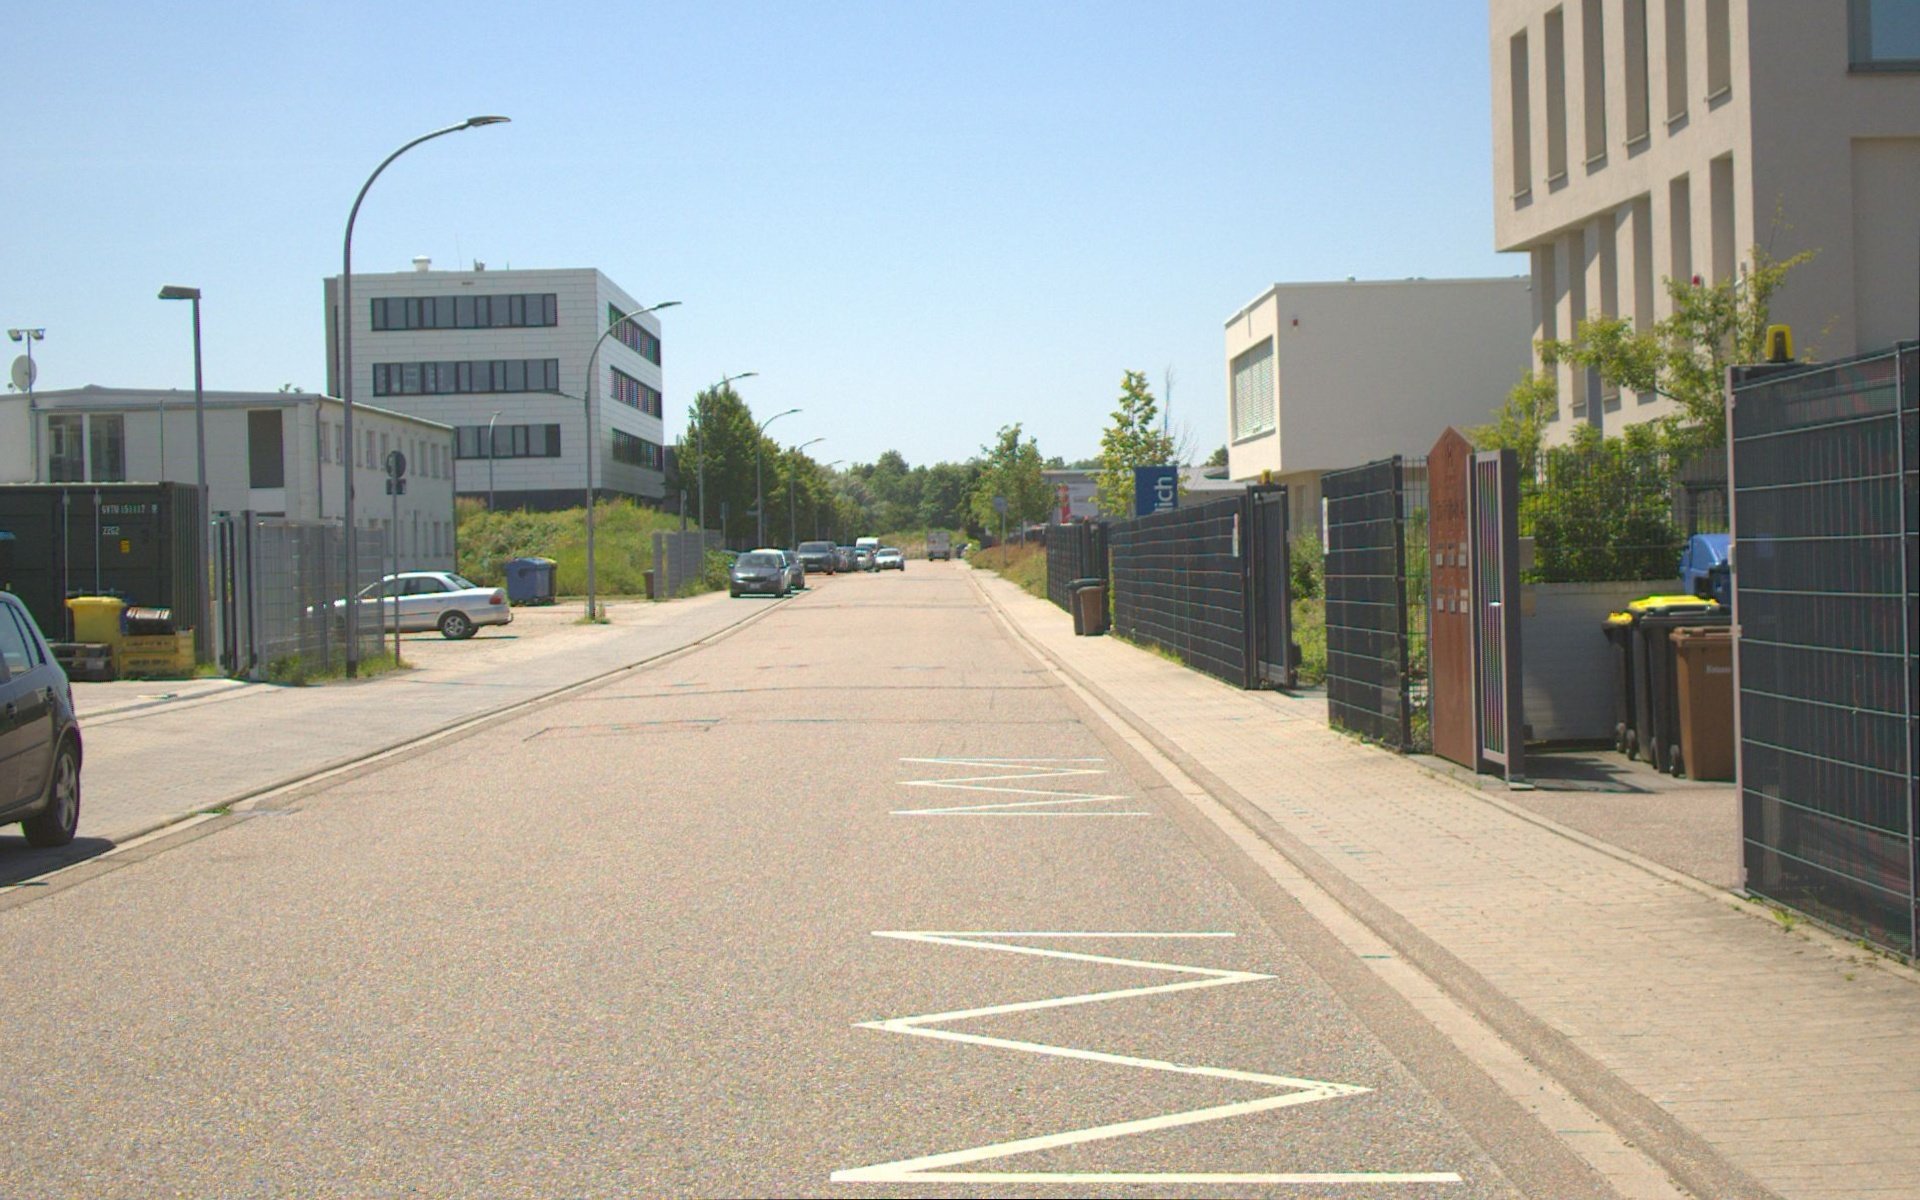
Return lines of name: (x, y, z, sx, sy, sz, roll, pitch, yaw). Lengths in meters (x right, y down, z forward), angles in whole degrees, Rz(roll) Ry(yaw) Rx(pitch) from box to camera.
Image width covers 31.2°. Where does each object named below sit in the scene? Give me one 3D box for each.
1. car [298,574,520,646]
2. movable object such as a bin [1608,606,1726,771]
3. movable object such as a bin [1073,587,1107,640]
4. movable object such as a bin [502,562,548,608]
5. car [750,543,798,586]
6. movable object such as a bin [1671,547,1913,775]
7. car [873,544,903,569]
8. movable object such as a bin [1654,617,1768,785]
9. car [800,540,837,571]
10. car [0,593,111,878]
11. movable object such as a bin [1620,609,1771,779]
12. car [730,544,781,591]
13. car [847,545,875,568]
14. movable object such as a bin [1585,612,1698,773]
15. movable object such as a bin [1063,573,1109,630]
car: (-11.423, 0.197, 71.481, 4.277, 1.360, 1.898, -2, 1, 0)
movable object such as a bin: (4.584, 0.566, 22.316, 0.604, 1.032, 0.650, -2, 0, 0)
movable object such as a bin: (2.458, 0.254, 64.869, 0.552, 0.925, 0.522, -5, 2, 4)
movable object such as a bin: (-13.461, -0.468, 106.452, 1.285, 1.407, 1.807, -1, 1, -4)
car: (-6.463, -1.239, 119.789, 1.466, 1.484, 3.207, -1, 1, 0)
movable object such as a bin: (5.521, 0.393, 22.871, 1.334, 1.454, 0.949, -2, 0, -1)
car: (-4.546, -2.757, 218.165, 1.804, 1.551, 4.000, -1, 1, 0)
movable object such as a bin: (4.601, 0.614, 21.091, 0.543, 0.991, 0.581, -2, 0, -1)
car: (-6.896, -2.160, 167.696, 1.644, 1.484, 3.207, -1, 1, 0)
car: (-5.859, 0.707, 18.028, 1.769, 1.456, 4.333, 0, 0, 0)
movable object such as a bin: (4.632, 0.585, 21.679, 0.793, 1.032, 0.581, -2, 0, -1)
car: (-6.706, -1.074, 112.701, 1.466, 1.484, 3.207, -1, 1, 0)
car: (-6.733, -2.953, 234.411, 1.804, 1.551, 4.000, -1, 1, 0)
movable object such as a bin: (4.575, 0.611, 23.124, 0.543, 1.032, 0.913, -2, 0, -1)
movable object such as a bin: (2.412, 0.025, 65.847, 0.779, 1.016, 0.665, -5, 2, 4)
